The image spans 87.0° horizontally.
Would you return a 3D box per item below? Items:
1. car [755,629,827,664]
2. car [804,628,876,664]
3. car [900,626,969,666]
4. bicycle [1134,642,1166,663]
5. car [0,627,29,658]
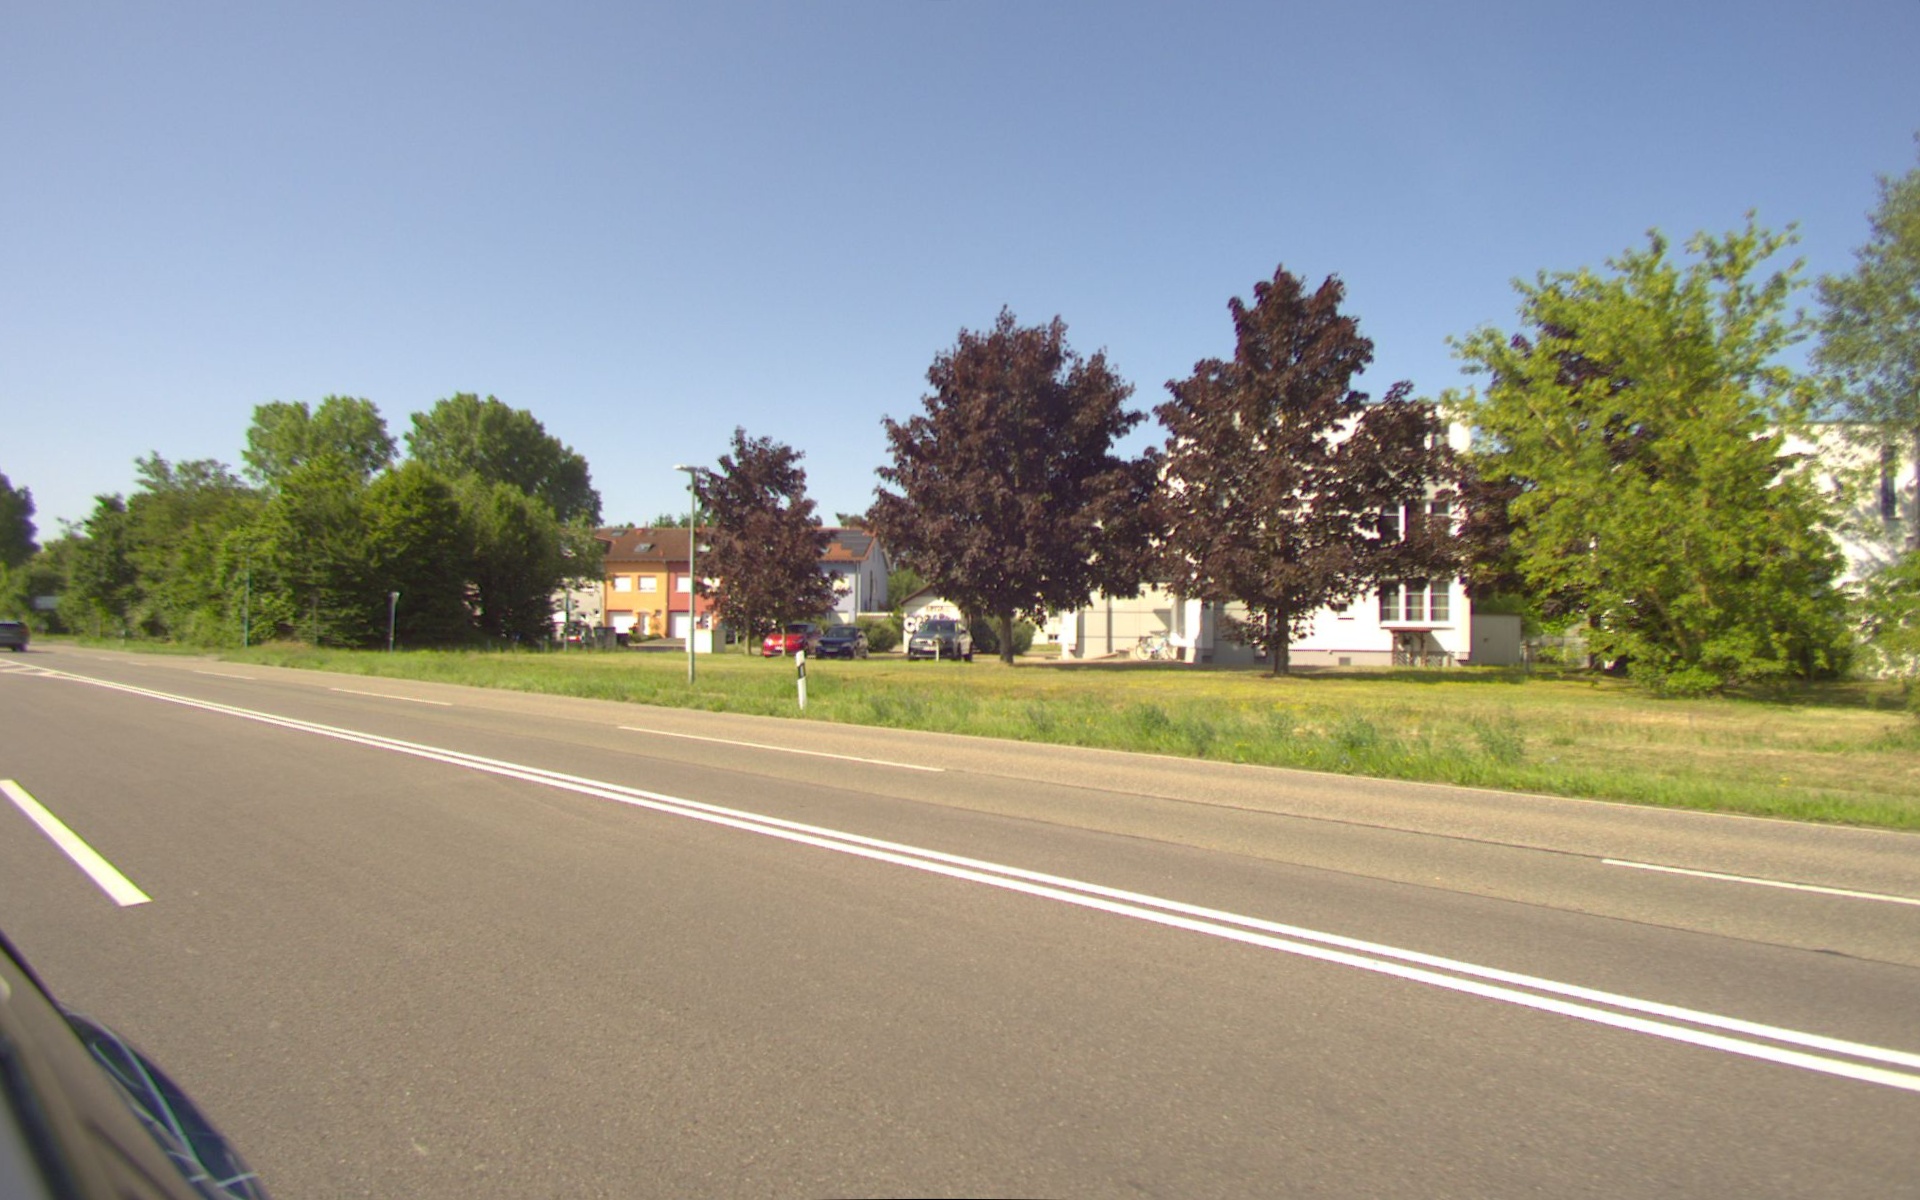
[{"bbox_3d":[-7.165,1.986,43.222,1.803,1.381,3.986,-1,-3,11],"label":"car"},{"bbox_3d":[-4.861,1.881,41.511,1.803,1.381,3.986,-1,-3,11],"label":"car"},{"bbox_3d":[-0.887,1.719,37.581,1.803,1.381,3.986,-1,-3,11],"label":"car"},{"bbox_3d":[7.512,2.067,39.995,1.238,0.818,0.408,-1,-2,17],"label":"bicycle"},{"bbox_3d":[-45.583,2.050,47.971,4.172,1.422,1.745,-3,-4,42],"label":"car"}]
